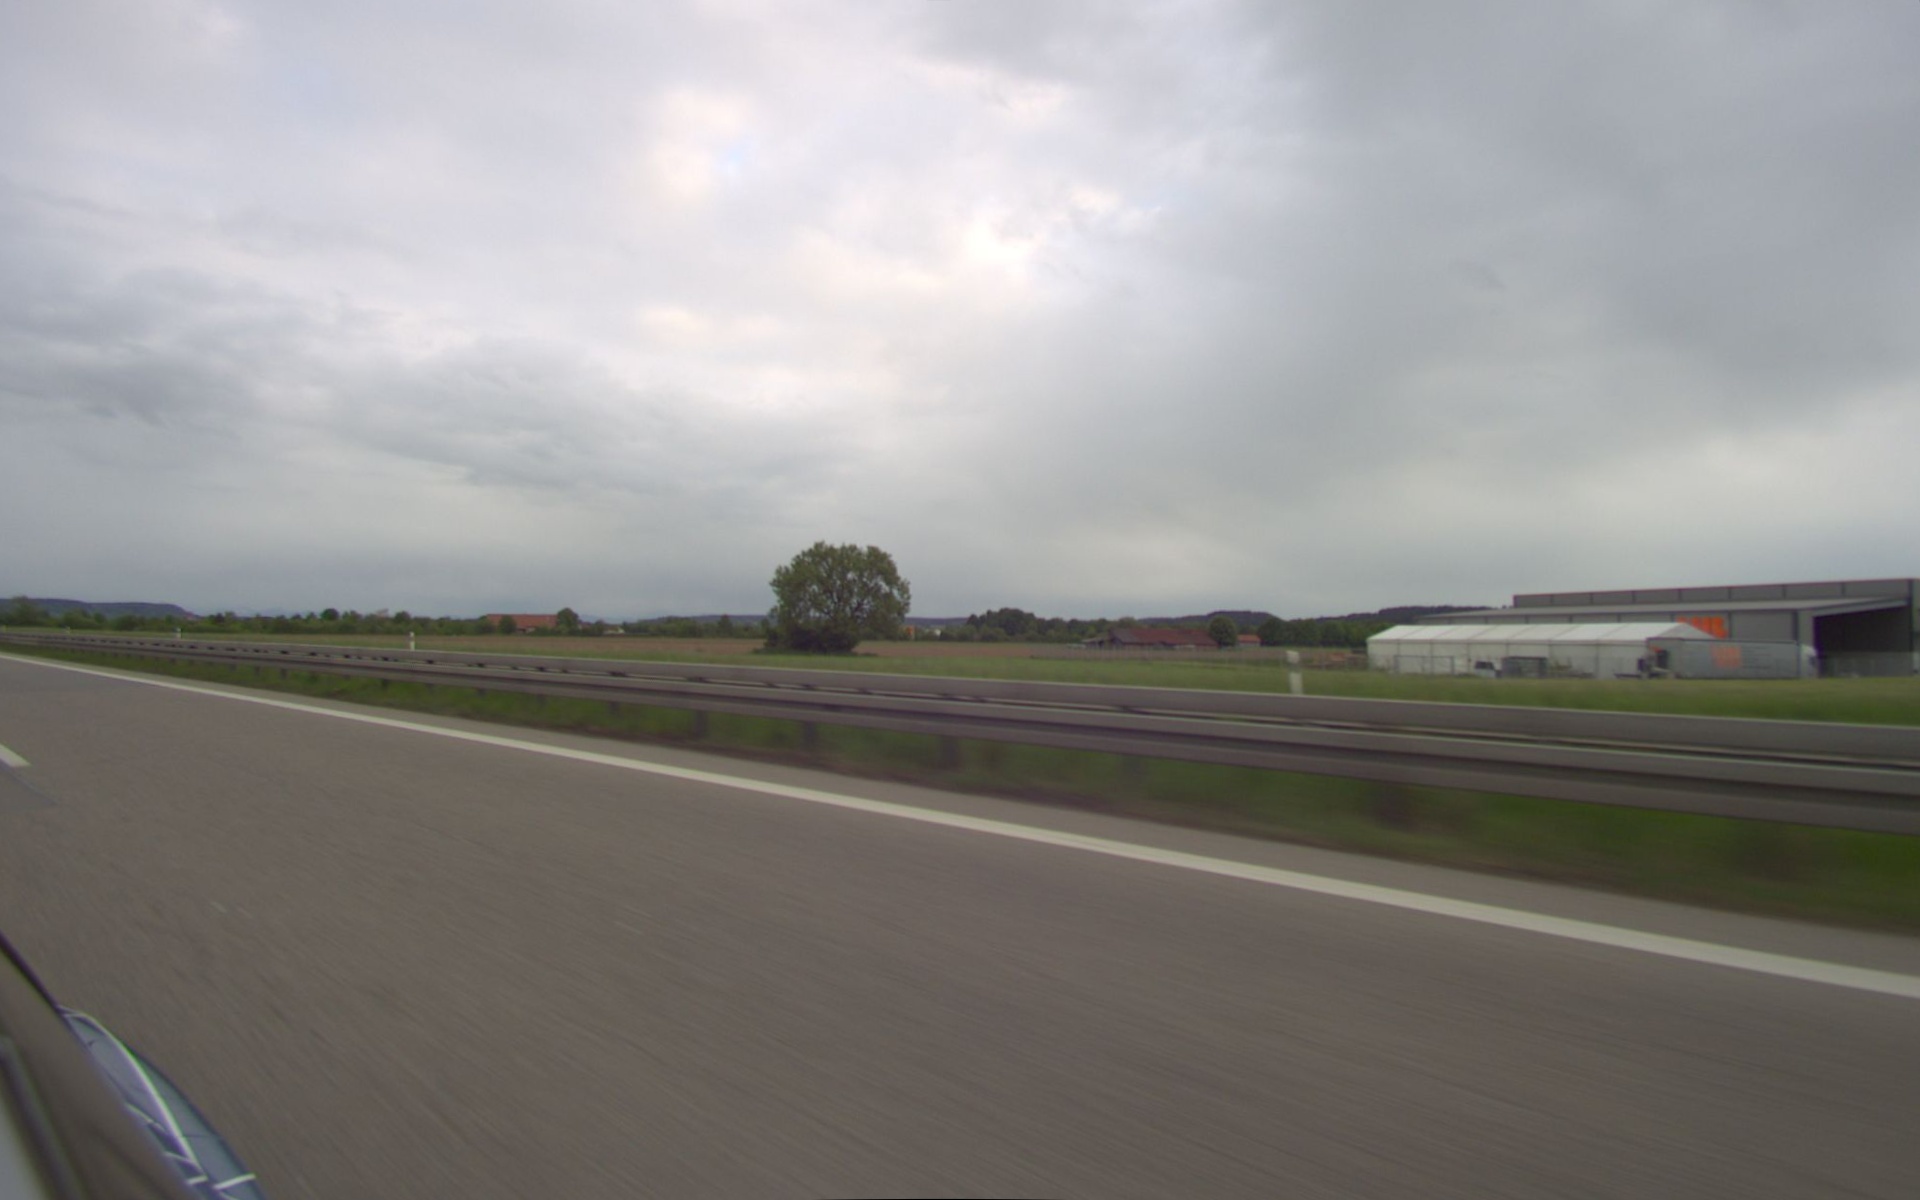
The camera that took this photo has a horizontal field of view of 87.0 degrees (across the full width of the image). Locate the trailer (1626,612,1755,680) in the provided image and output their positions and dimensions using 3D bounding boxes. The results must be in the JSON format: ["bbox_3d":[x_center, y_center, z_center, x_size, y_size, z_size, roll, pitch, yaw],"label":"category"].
[{"bbox_3d":[60.013,3.798,83.155,9.907,5.300,3.767,2,-2,-21],"label":"trailer"}]

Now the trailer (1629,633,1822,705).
[{"bbox_3d":[59.531,5.358,78.513,16.739,5.174,3.581,2,-2,-21],"label":"trailer"}]
